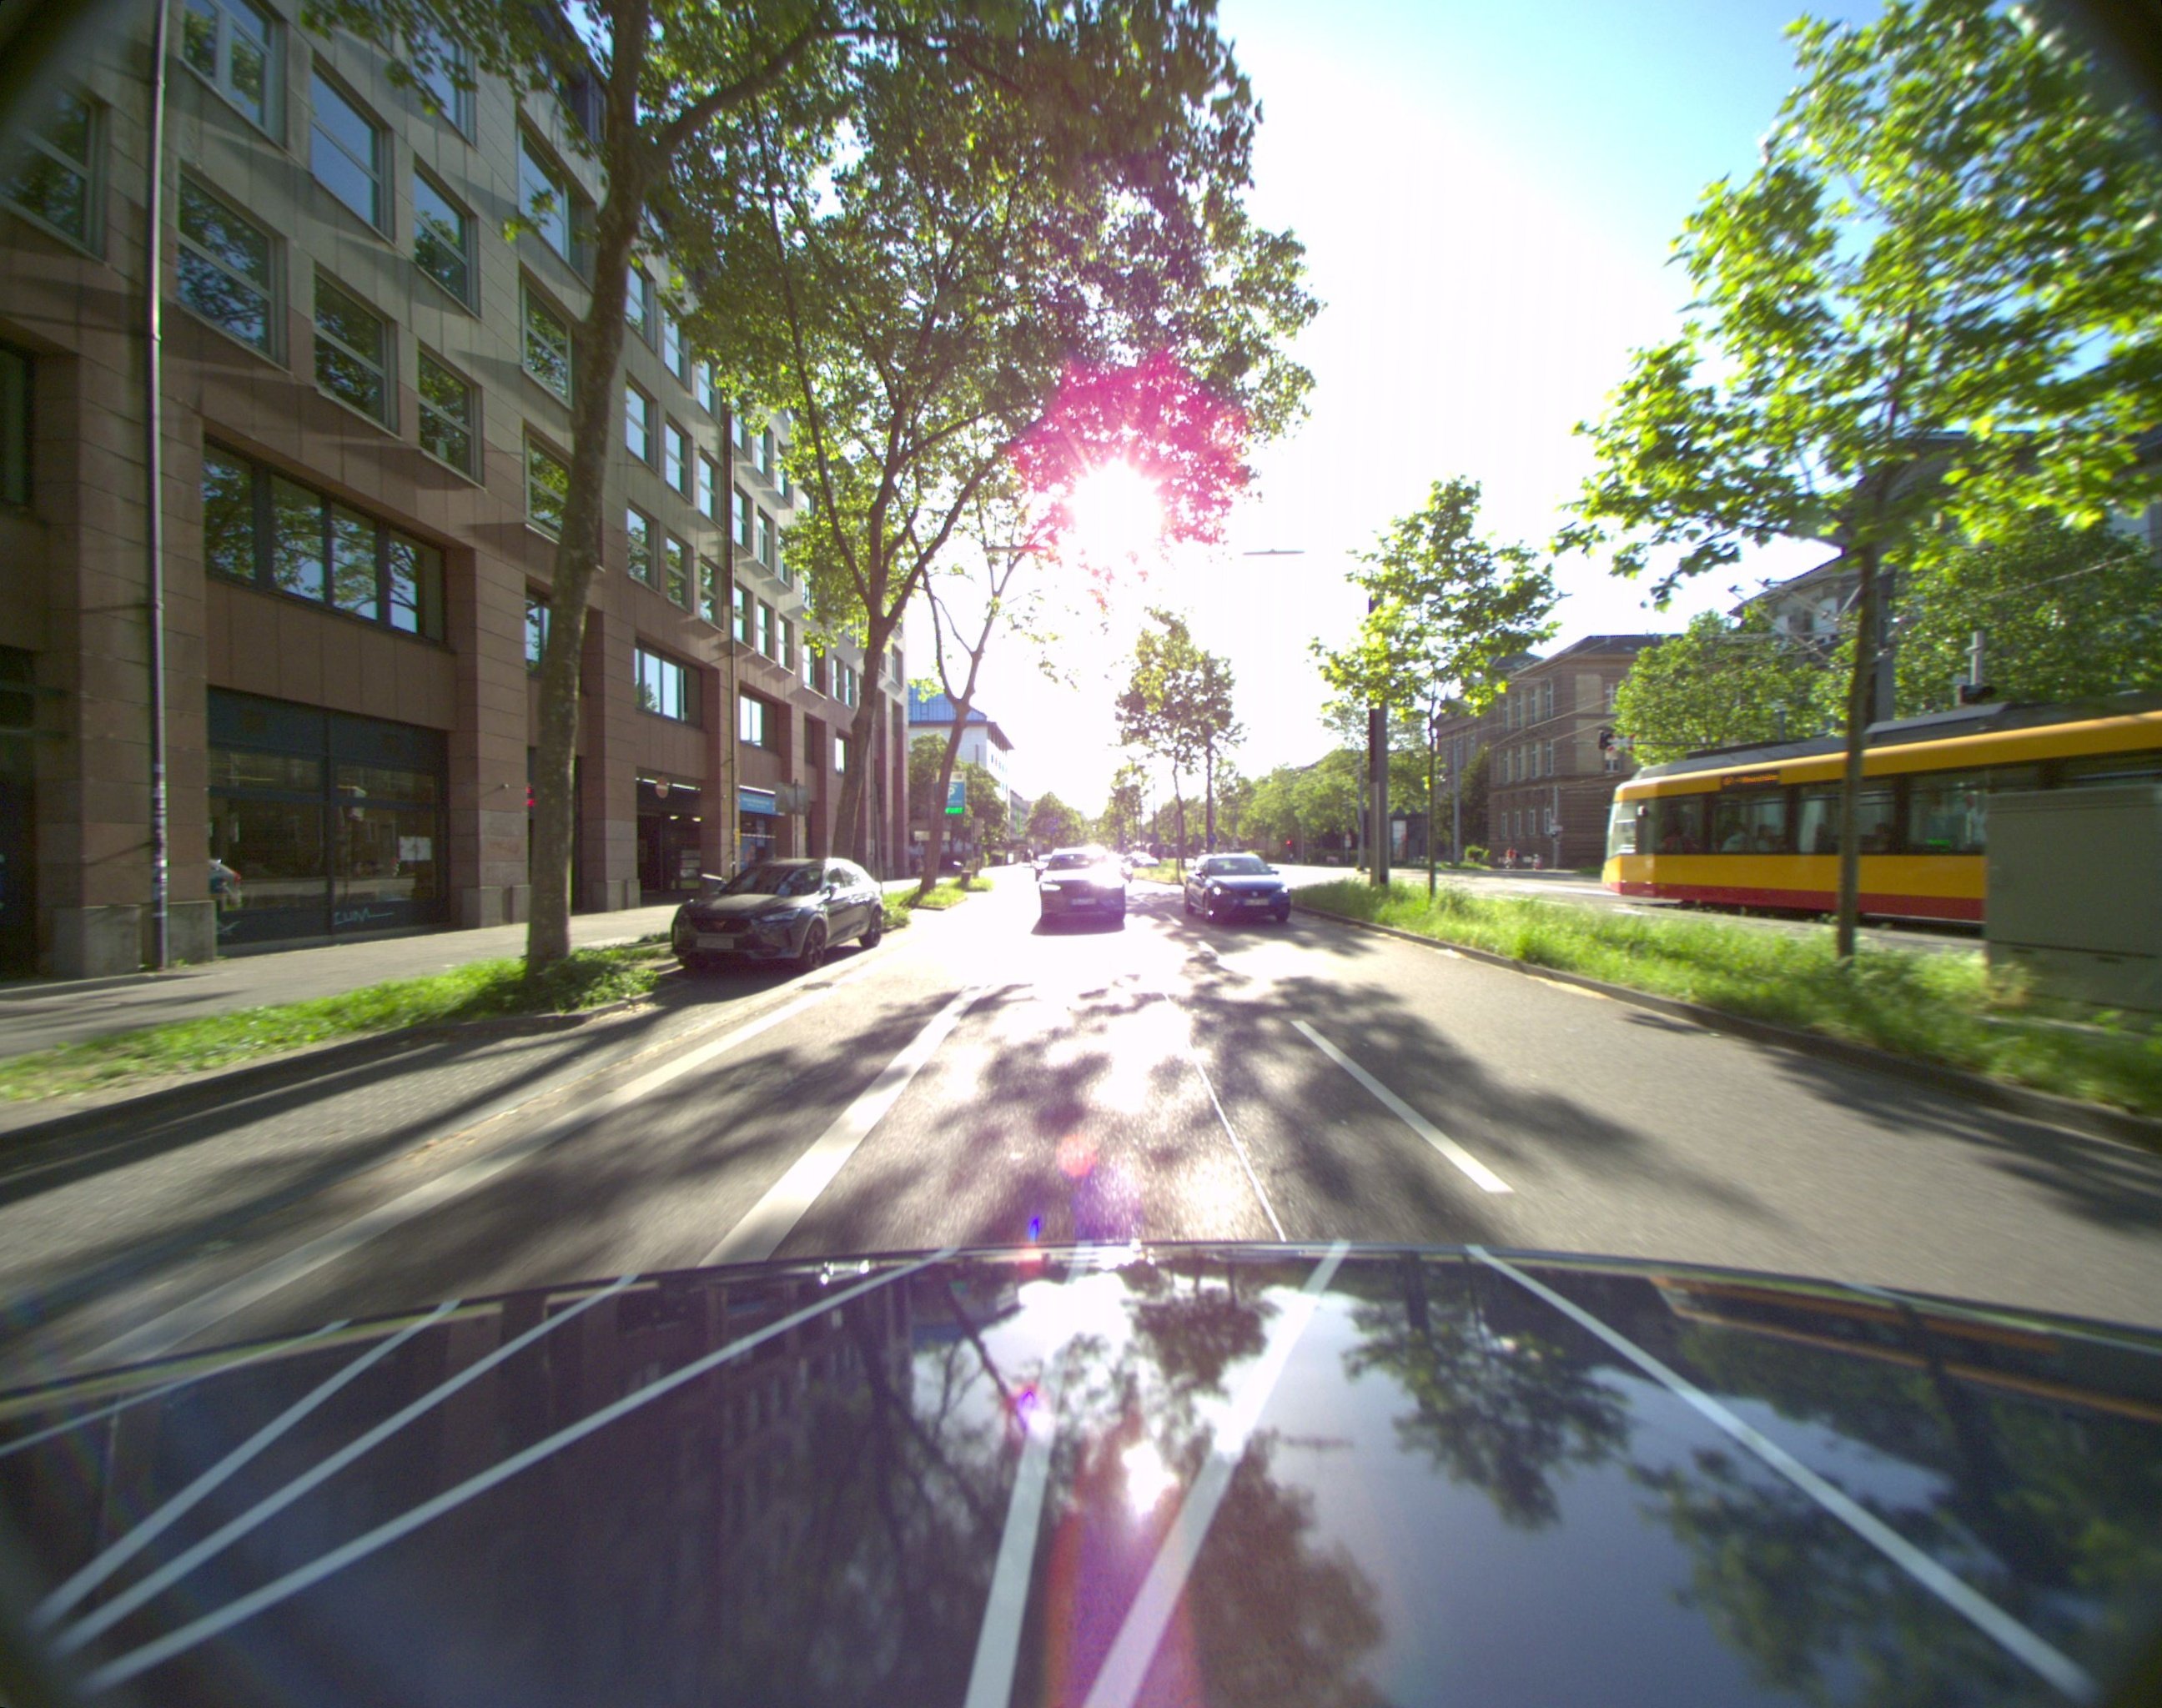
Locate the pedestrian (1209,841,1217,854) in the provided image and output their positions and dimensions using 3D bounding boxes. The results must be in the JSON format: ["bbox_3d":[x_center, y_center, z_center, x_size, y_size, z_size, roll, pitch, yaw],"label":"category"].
[{"bbox_3d":[16.817,-0.806,96.744,0.595,1.634,0.698,-3,2,-35],"label":"pedestrian"}]

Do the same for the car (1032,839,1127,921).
[{"bbox_3d":[-0.025,0.515,18.540,1.949,1.690,5.305,-1,1,0],"label":"car"}]

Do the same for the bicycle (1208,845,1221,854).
[{"bbox_3d":[16.639,-0.537,94.568,1.666,1.036,0.543,-3,2,-30],"label":"bicycle"}]

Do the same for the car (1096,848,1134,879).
[{"bbox_3d":[1.738,0.472,39.817,1.798,1.420,3.999,-2,1,1],"label":"car"}]

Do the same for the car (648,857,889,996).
[{"bbox_3d":[-4.404,0.911,11.535,1.672,1.561,4.280,-2,1,2],"label":"car"}]

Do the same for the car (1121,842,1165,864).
[{"bbox_3d":[4.761,-0.064,58.724,1.669,1.586,3.855,-3,1,-24],"label":"car"}]

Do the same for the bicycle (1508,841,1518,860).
[{"bbox_3d":[33.019,-0.302,58.065,0.525,1.381,2.355,-2,1,31],"label":"bicycle"}]

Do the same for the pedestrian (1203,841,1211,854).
[{"bbox_3d":[16.289,-0.822,98.148,0.595,1.667,0.698,-3,1,-31],"label":"pedestrian"}]

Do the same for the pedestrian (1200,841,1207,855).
[{"bbox_3d":[16.053,-0.801,99.779,0.595,1.735,0.698,-3,2,-31],"label":"pedestrian"}]

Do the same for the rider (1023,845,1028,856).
[{"bbox_3d":[-8.481,-0.514,115.703,0.779,1.582,0.789,0,1,-2],"label":"rider"}]

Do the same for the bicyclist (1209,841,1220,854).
[{"bbox_3d":[16.569,-0.835,94.603,0.970,1.634,0.833,-3,2,-31],"label":"bicyclist"}]

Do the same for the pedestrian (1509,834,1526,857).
[{"bbox_3d":[36.008,-0.708,62.687,0.864,1.790,1.002,-2,1,3],"label":"pedestrian"}]

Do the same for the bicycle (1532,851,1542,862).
[{"bbox_3d":[33.635,0.184,56.053,0.525,0.718,1.904,-2,1,35],"label":"bicycle"}]

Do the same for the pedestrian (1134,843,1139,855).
[{"bbox_3d":[7.773,-0.730,105.740,0.580,1.652,0.667,-2,1,10],"label":"pedestrian"}]

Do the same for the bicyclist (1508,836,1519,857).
[{"bbox_3d":[33.052,-0.570,58.051,0.674,1.615,0.873,-1,1,34],"label":"bicyclist"}]

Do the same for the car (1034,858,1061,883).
[{"bbox_3d":[-2.083,0.990,47.910,1.605,1.387,3.998,-2,1,-2],"label":"car"}]

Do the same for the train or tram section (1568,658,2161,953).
[{"bbox_3d":[14.168,-0.610,8.828,2.971,3.463,21.212,-2,1,-1],"label":"train or tram section"}]

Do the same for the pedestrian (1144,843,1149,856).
[{"bbox_3d":[8.443,-0.635,97.720,0.544,1.652,0.730,-2,1,6],"label":"pedestrian"}]

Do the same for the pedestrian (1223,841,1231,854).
[{"bbox_3d":[18.394,-0.859,95.919,0.595,1.612,0.698,-3,2,-31],"label":"pedestrian"}]

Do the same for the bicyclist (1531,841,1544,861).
[{"bbox_3d":[33.903,-0.199,56.418,0.795,1.453,0.731,-2,2,35],"label":"bicyclist"}]

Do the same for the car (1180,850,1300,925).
[{"bbox_3d":[3.454,0.658,17.212,1.778,1.440,3.868,-2,1,-1],"label":"car"}]
